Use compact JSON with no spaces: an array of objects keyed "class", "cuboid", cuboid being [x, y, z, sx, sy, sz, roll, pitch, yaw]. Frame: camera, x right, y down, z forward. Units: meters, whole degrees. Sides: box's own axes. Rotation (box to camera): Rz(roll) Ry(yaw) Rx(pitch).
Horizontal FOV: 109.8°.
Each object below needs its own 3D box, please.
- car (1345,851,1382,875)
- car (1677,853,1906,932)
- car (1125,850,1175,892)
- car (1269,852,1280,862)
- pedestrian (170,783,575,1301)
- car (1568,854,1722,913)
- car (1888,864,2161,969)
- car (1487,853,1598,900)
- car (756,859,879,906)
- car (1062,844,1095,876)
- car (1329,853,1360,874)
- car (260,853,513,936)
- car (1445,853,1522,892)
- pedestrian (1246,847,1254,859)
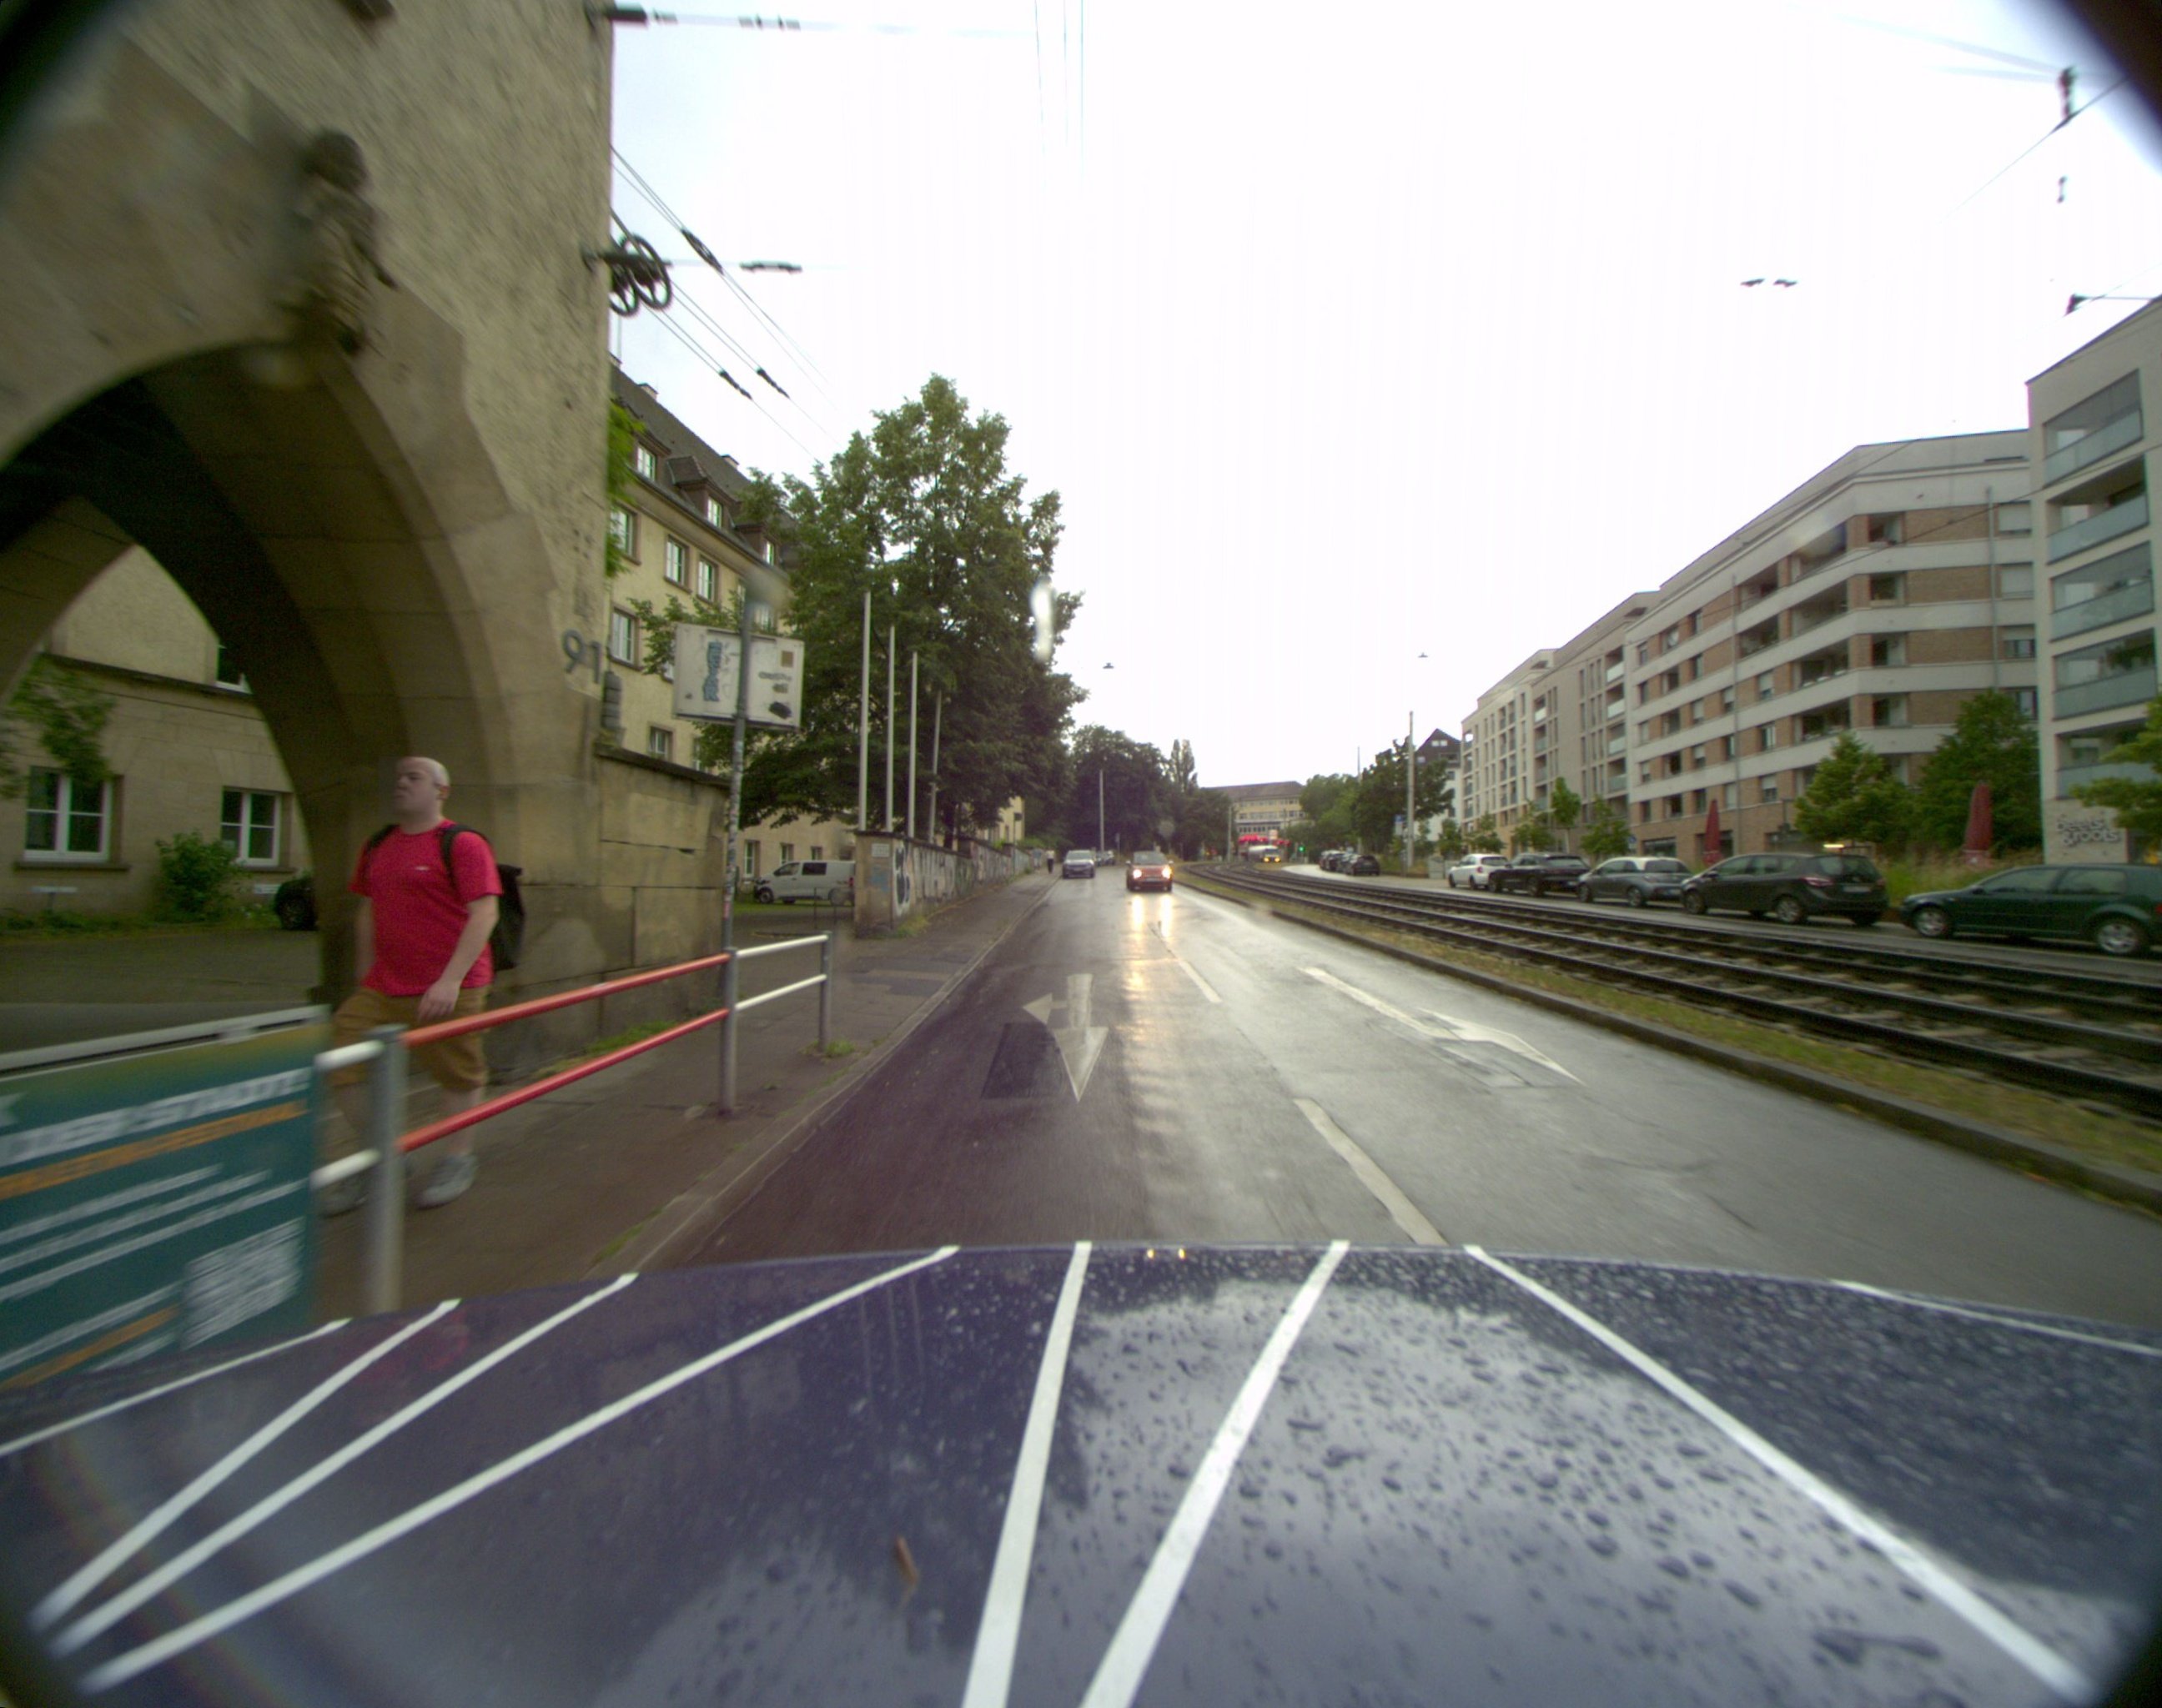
[{"class":"car","cuboid":[19.225,0.587,51.806,1.653,1.456,3.672,-2,1,9]},{"class":"car","cuboid":[16.290,0.801,17.739,1.684,1.554,3.928,-1,1,0]},{"class":"car","cuboid":[2.676,0.615,30.219,1.594,1.456,3.669,-2,1,0]},{"class":"car","cuboid":[34.288,0.474,134.612,1.666,1.598,3.812,-2,1,16]},{"class":"pedestrian","cuboid":[-2.666,0.639,2.981,0.748,1.754,0.818,-1,1,0]},{"class":"car","cuboid":[16.704,0.808,22.772,1.684,1.496,3.928,-1,1,0]},{"class":"car","cuboid":[16.458,0.936,12.689,1.684,1.373,4.032,-1,1,0]},{"class":"car","cuboid":[16.709,0.749,27.777,1.683,1.496,4.406,-1,1,5]},{"class":"car","cuboid":[-11.109,1.188,32.096,4.526,1.769,1.824,-2,1,12]},{"class":"car","cuboid":[-0.146,0.325,44.051,1.726,1.676,3.865,-2,1,0]},{"class":"car","cuboid":[20.717,0.699,59.842,1.653,1.456,3.672,-2,1,9]},{"class":"car","cuboid":[-14.177,0.799,15.625,3.911,1.462,1.613,-2,1,7]},{"class":"car","cuboid":[17.254,0.748,32.752,1.649,1.496,3.782,-1,1,6]},{"class":"pedestrian","cuboid":[25.810,-0.177,116.062,0.816,1.754,0.751,3,1,40]}]
